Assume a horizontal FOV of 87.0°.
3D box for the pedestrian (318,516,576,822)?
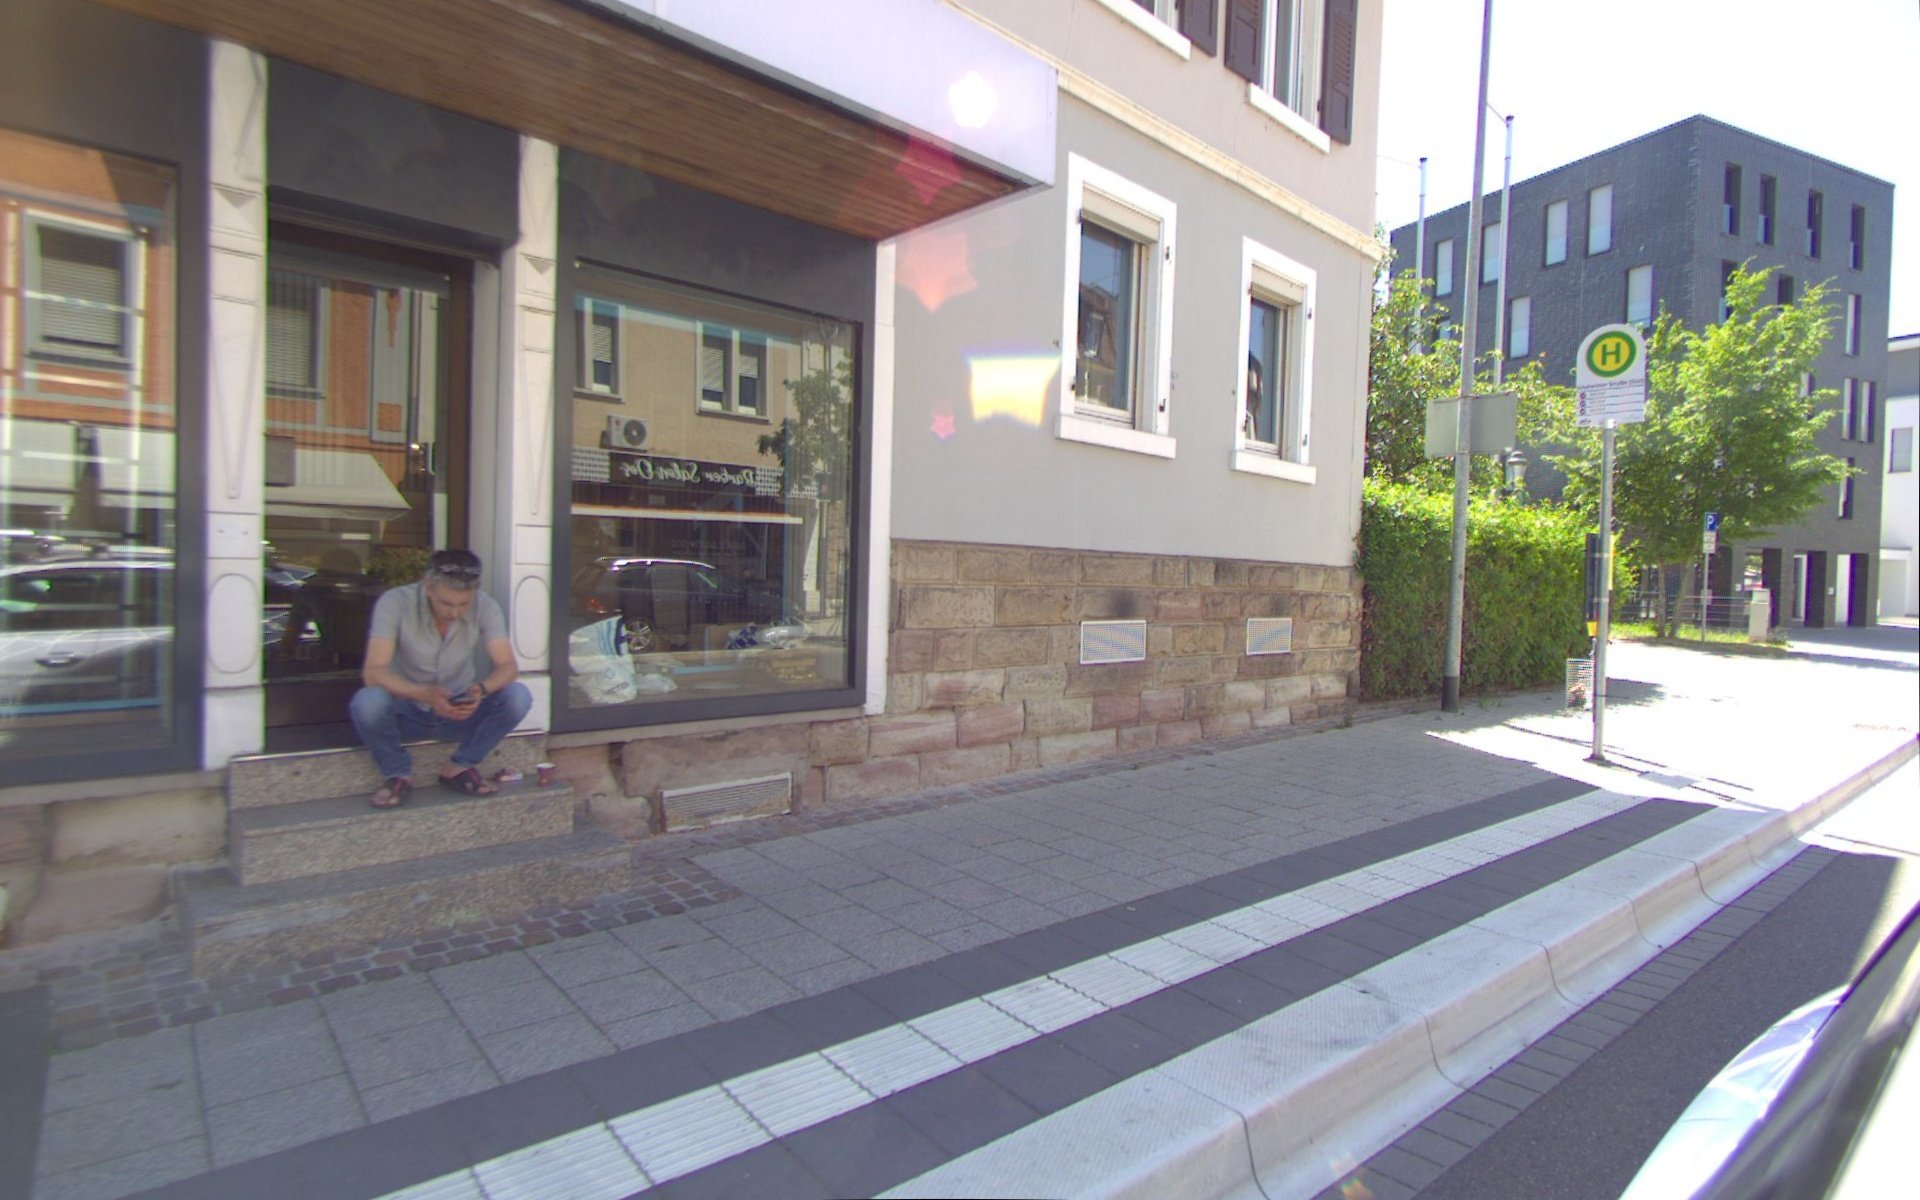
[{"bbox_3d":[-1.920,0.211,3.791,0.712,1.011,0.591,0,3,-43],"label":"pedestrian"}]
